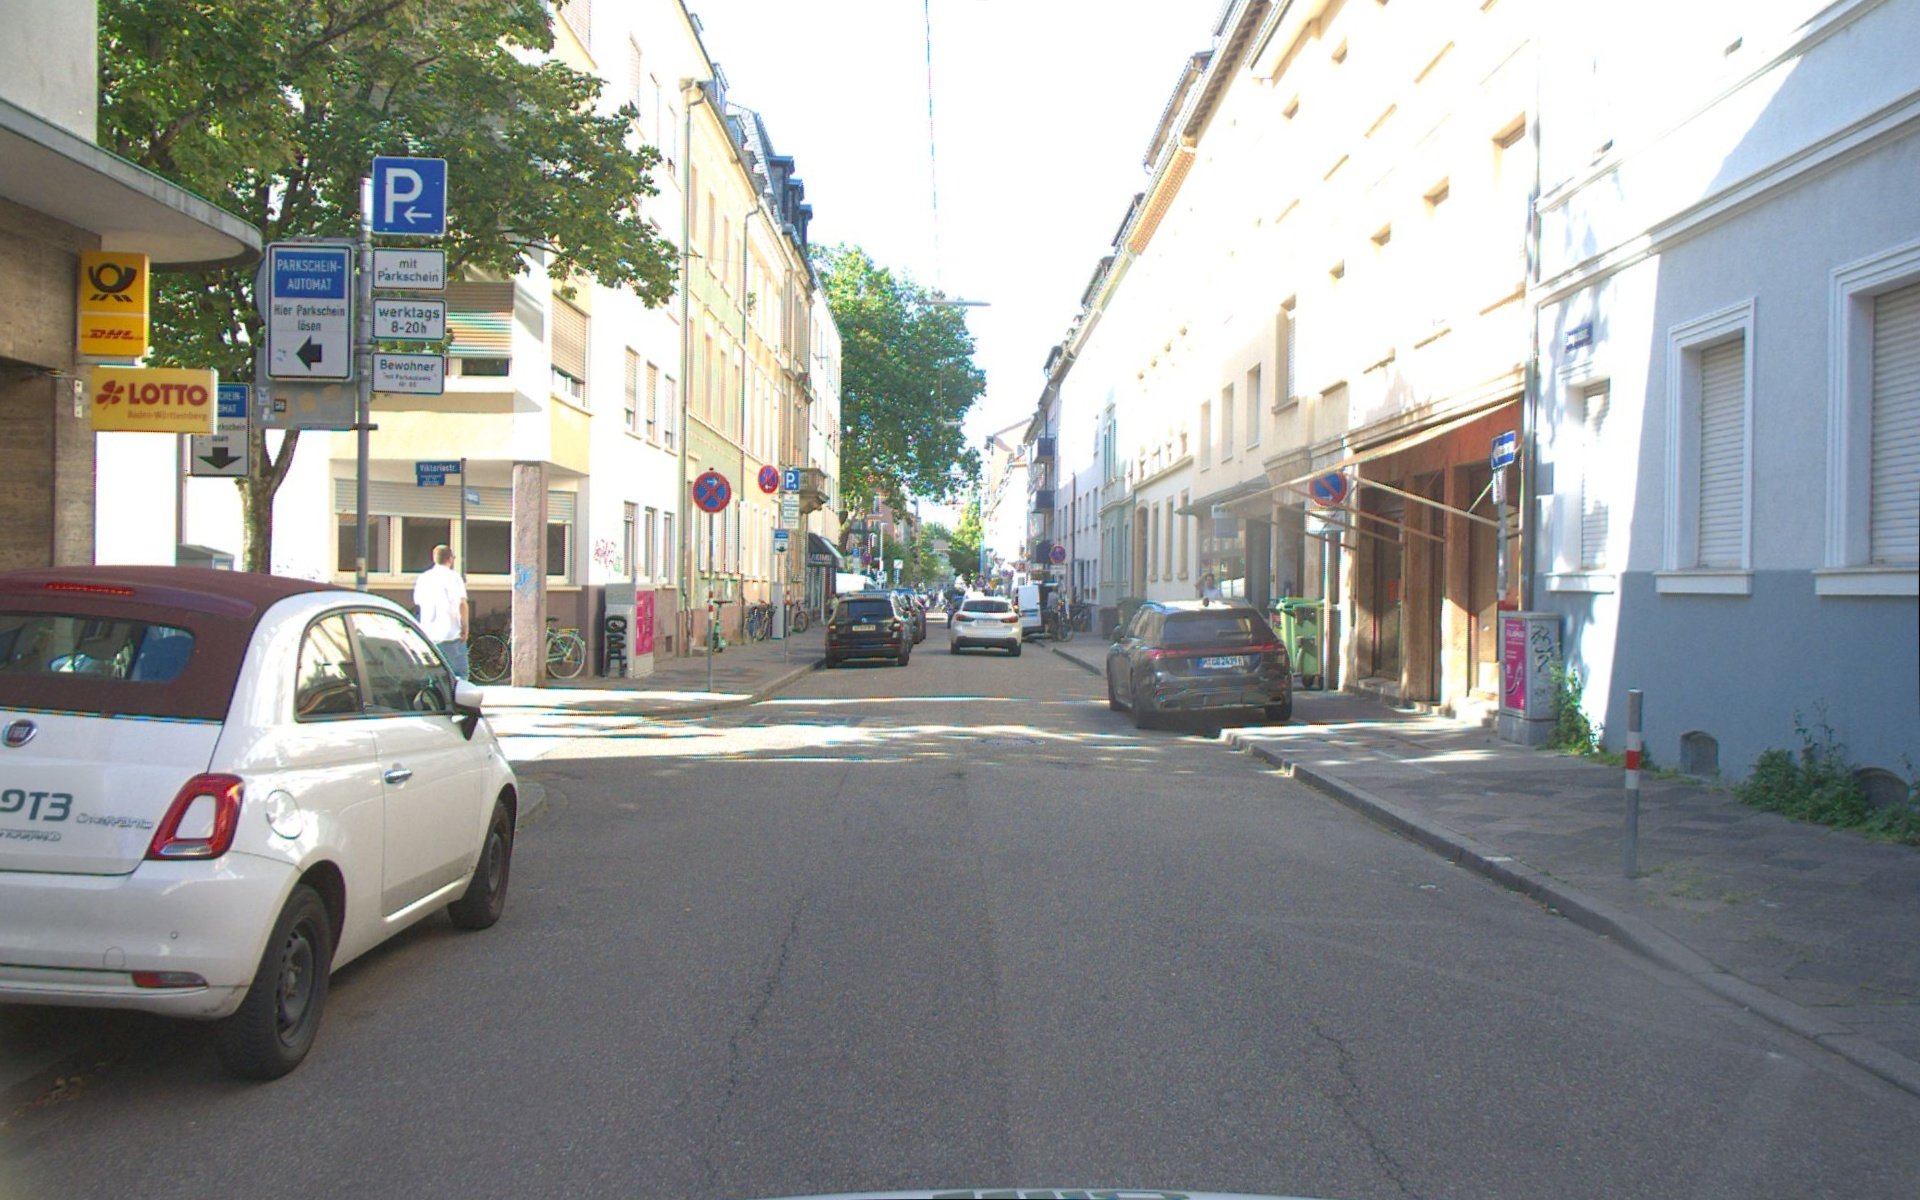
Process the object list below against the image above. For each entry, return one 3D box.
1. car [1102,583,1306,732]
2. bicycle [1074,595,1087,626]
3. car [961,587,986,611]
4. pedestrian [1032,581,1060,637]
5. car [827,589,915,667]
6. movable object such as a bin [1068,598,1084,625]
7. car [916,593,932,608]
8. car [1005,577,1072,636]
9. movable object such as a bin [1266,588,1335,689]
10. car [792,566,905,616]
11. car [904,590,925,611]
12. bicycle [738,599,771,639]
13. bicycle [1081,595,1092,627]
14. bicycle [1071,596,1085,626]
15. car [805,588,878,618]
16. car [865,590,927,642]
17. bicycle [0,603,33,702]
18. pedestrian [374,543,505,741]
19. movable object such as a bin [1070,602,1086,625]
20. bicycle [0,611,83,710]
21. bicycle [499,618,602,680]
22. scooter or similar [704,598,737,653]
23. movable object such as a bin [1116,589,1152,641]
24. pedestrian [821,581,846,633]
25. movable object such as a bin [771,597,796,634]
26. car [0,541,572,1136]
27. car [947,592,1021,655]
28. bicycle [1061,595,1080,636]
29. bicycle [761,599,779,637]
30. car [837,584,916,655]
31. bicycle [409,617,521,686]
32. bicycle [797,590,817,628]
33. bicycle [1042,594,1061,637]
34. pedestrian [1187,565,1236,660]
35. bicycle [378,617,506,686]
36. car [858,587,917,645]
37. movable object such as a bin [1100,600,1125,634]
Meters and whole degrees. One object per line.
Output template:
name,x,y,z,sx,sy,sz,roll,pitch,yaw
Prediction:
car,2.900,0.633,20.702,1.764,1.606,4.896,1,0,-1
bicycle,4.826,0.428,66.176,0.428,1.227,2.267,0,-1,6
car,1.120,-0.100,141.800,1.904,1.982,4.076,1,0,-3
pedestrian,2.903,0.290,55.765,0.863,1.869,0.868,0,-1,-2
car,-1.859,0.554,35.776,1.679,1.514,4.851,-2,0,-1
movable object such as a bin,4.864,0.485,69.143,0.603,1.081,0.603,-1,0,-1
car,-3.721,0.062,170.742,1.540,1.613,3.611,0,0,0
car,2.755,0.200,59.102,1.943,1.916,5.598,-3,0,-1
movable object such as a bin,5.115,0.563,24.939,0.731,1.461,1.372,-2,0,1
car,-6.830,-0.534,101.729,6.601,2.599,2.146,4,-1,1
car,-3.821,0.024,138.522,1.734,1.616,3.725,0,1,-1
bicycle,-5.515,0.517,44.392,0.353,1.046,1.919,0,-1,9
bicycle,4.956,0.419,64.842,0.396,1.227,2.160,0,-1,3
bicycle,4.805,0.445,67.265,0.556,1.173,1.869,0,-1,4
car,-6.381,0.174,89.240,3.797,1.531,1.826,1,-1,-2
car,-1.985,0.483,52.196,1.678,1.558,4.367,0,0,1
bicycle,-12.138,0.683,19.993,0.492,1.205,2.439,-1,2,-1
pedestrian,-5.085,0.399,16.238,0.892,1.865,1.245,0,-1,-1
movable object such as a bin,4.893,0.557,68.534,0.565,0.940,0.607,-2,0,-1
bicycle,-11.485,0.721,19.913,0.626,1.047,2.183,0,3,1
bicycle,-6.180,0.730,25.012,0.423,0.897,1.562,2,1,39
scooter or similar,-5.405,0.565,37.399,0.444,1.202,1.691,0,-1,2
movable object such as a bin,4.910,0.445,46.748,0.820,1.414,1.296,-2,-2,-2
pedestrian,-4.317,0.241,56.583,0.749,1.744,0.883,2,0,-1
movable object such as a bin,-5.447,0.471,51.071,0.721,1.108,0.682,0,1,-4
car,-2.745,0.627,6.282,1.633,1.588,3.722,0,0,0
car,0.574,0.566,42.632,1.787,1.540,3.823,0,0,-1
bicycle,3.575,0.494,53.472,0.563,1.293,2.200,-2,0,3
bicycle,-5.486,0.525,47.742,0.394,1.074,1.835,0,-1,-3
car,-2.044,0.447,41.633,1.708,1.643,4.603,-1,1,0
bicycle,-7.065,0.726,23.663,0.397,0.913,1.577,0,1,40
bicycle,-5.341,0.305,57.690,0.500,1.299,1.867,0,-1,1
bicycle,2.937,0.492,53.142,0.563,1.344,2.200,-1,0,3
pedestrian,5.103,0.247,33.596,0.639,1.892,0.744,-2,1,-22
bicycle,-7.444,0.725,23.843,0.376,0.929,1.853,0,0,40
car,-2.045,0.436,47.428,1.583,1.581,3.977,0,0,-1
movable object such as a bin,4.918,0.548,53.342,0.780,1.115,0.642,0,-1,1
